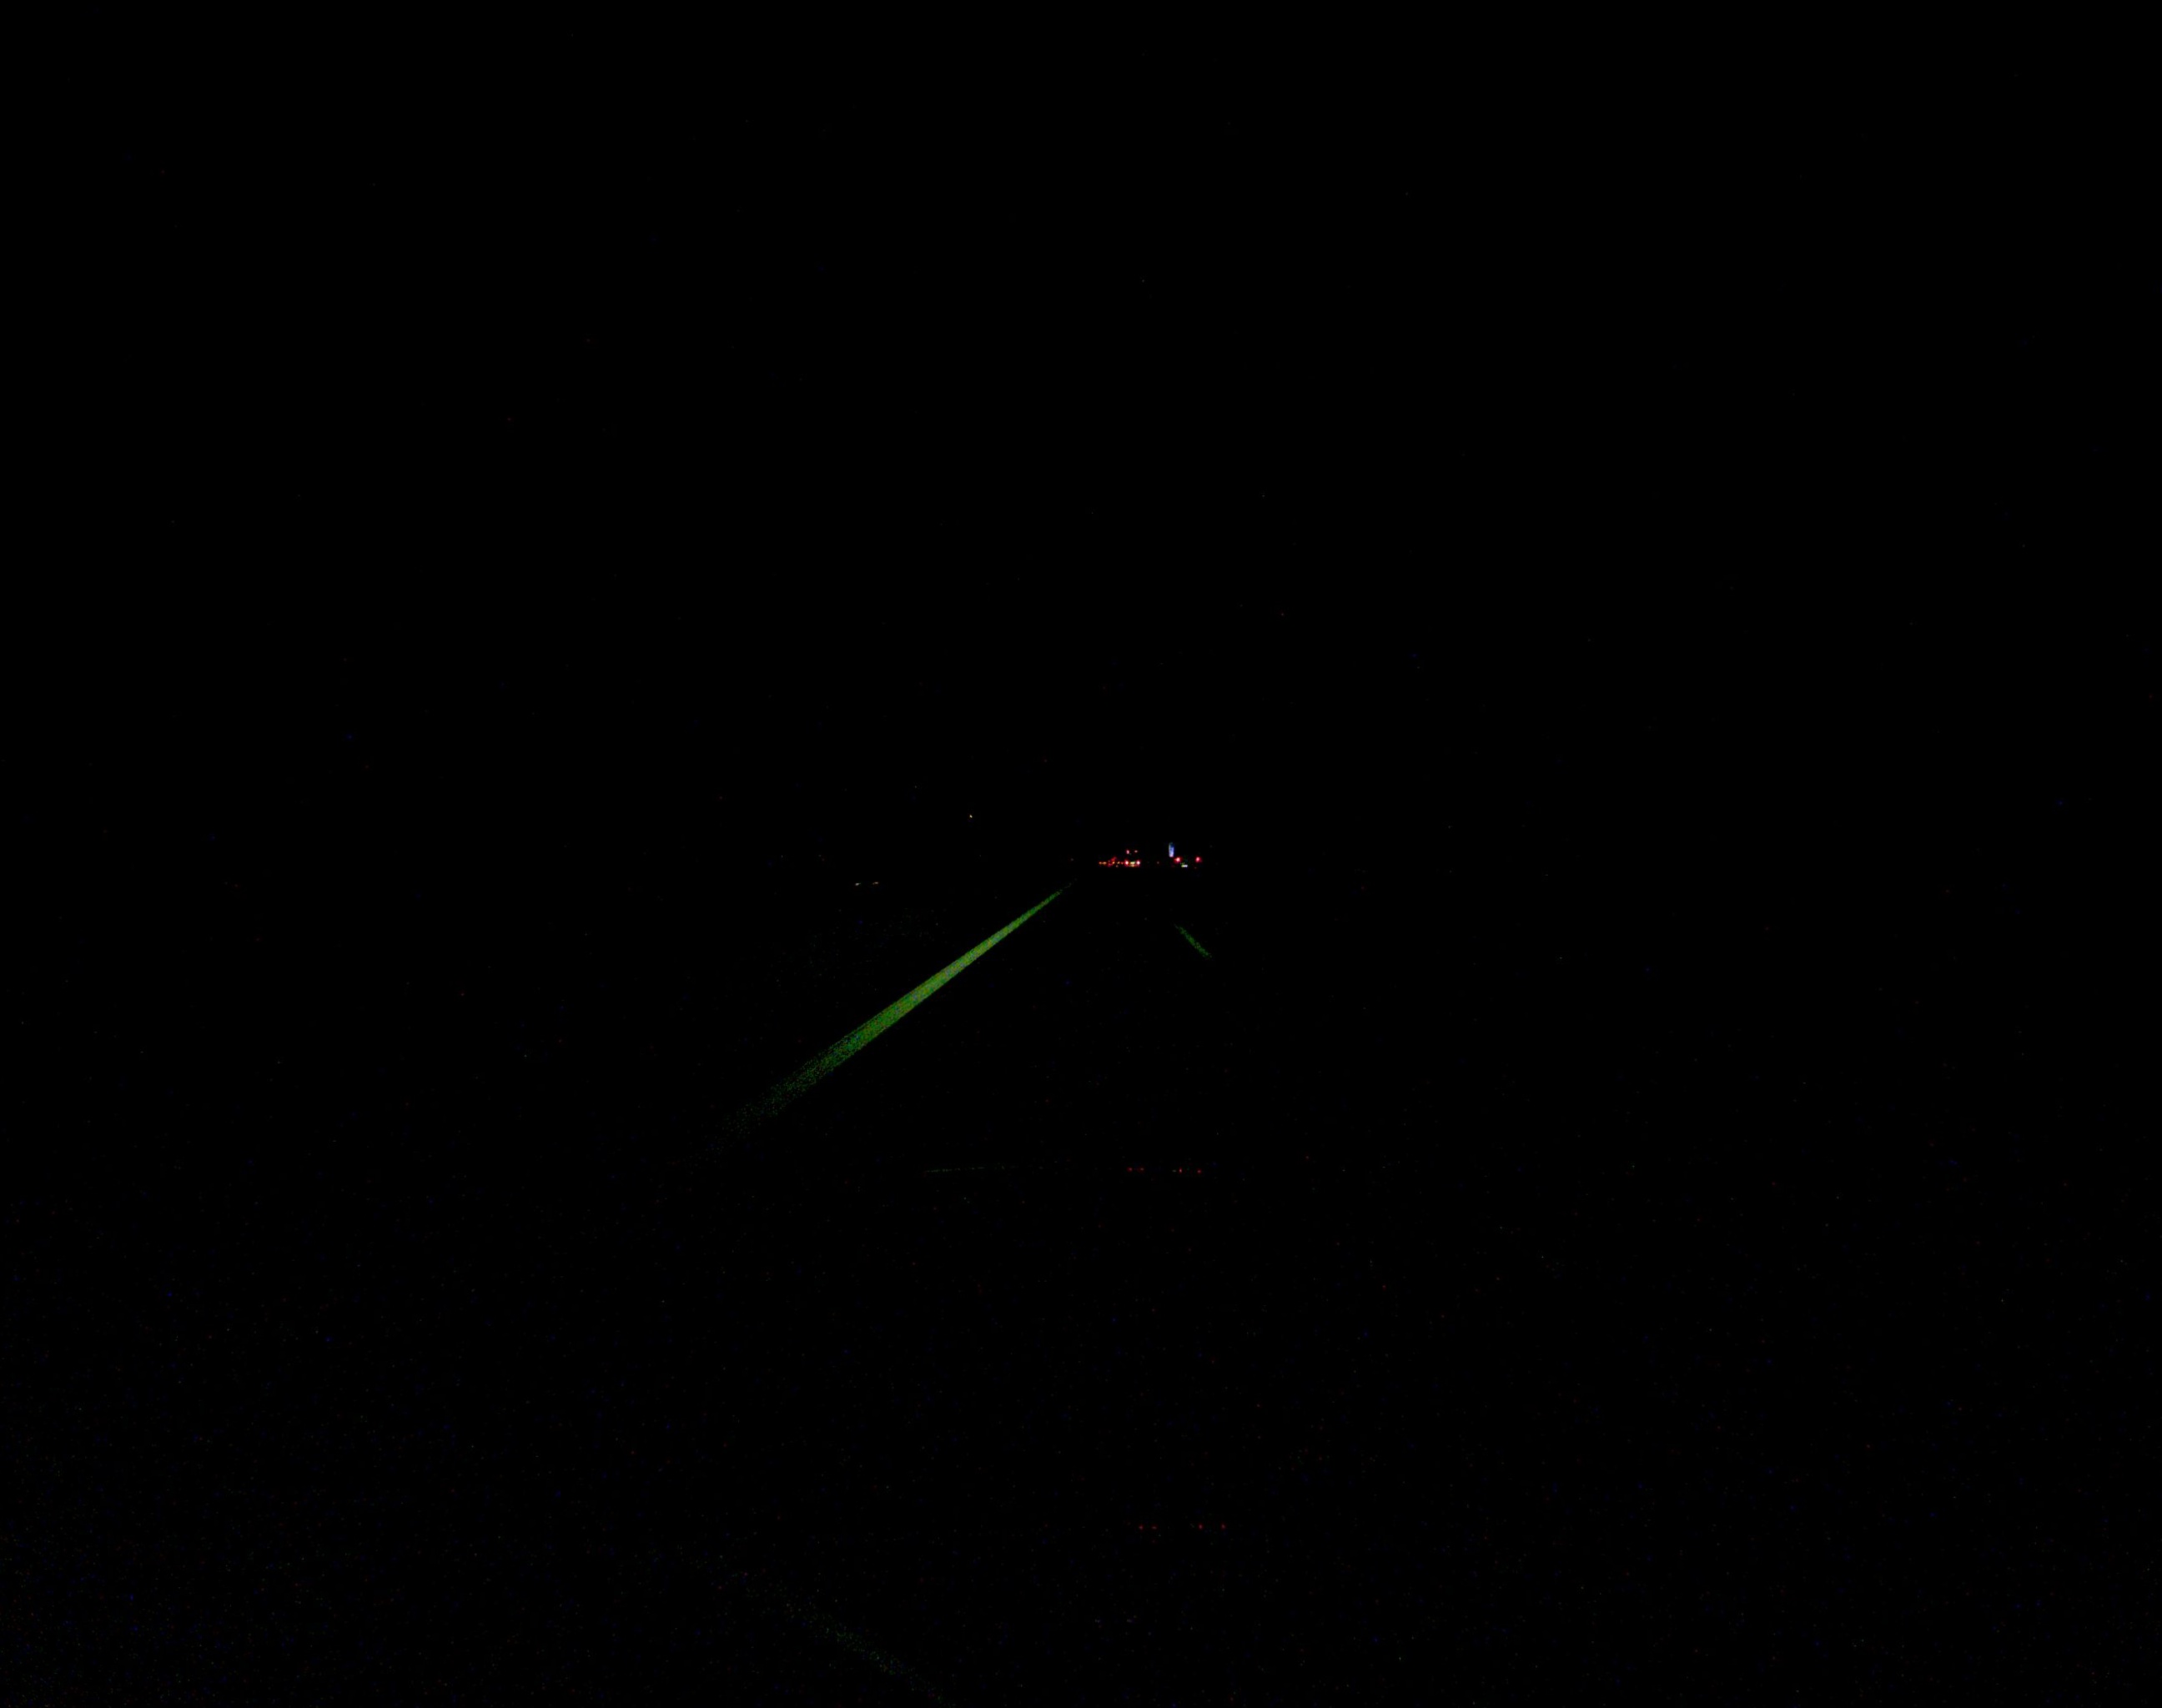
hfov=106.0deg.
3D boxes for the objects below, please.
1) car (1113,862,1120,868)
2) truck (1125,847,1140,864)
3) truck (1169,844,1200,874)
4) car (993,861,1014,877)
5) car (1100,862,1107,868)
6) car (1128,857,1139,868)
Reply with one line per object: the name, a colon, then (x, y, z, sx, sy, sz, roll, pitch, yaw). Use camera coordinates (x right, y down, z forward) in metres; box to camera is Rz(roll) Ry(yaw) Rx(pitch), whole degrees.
car: (9.389, 2.981, 213.431, 1.813, 1.466, 4.250, 0, 0, 3)
truck: (10.664, 0.263, 169.867, 3.032, 3.324, 10.148, 0, 0, 2)
truck: (9.777, 0.564, 77.233, 2.069, 2.691, 7.307, 0, -2, 1)
car: (-8.999, 1.777, 94.904, 1.786, 1.684, 5.170, 0, -2, 1)
car: (6.156, 2.995, 226.543, 1.813, 1.466, 4.250, 0, 0, 3)
car: (6.885, 1.149, 106.495, 1.341, 1.387, 3.504, 0, 0, 3)
